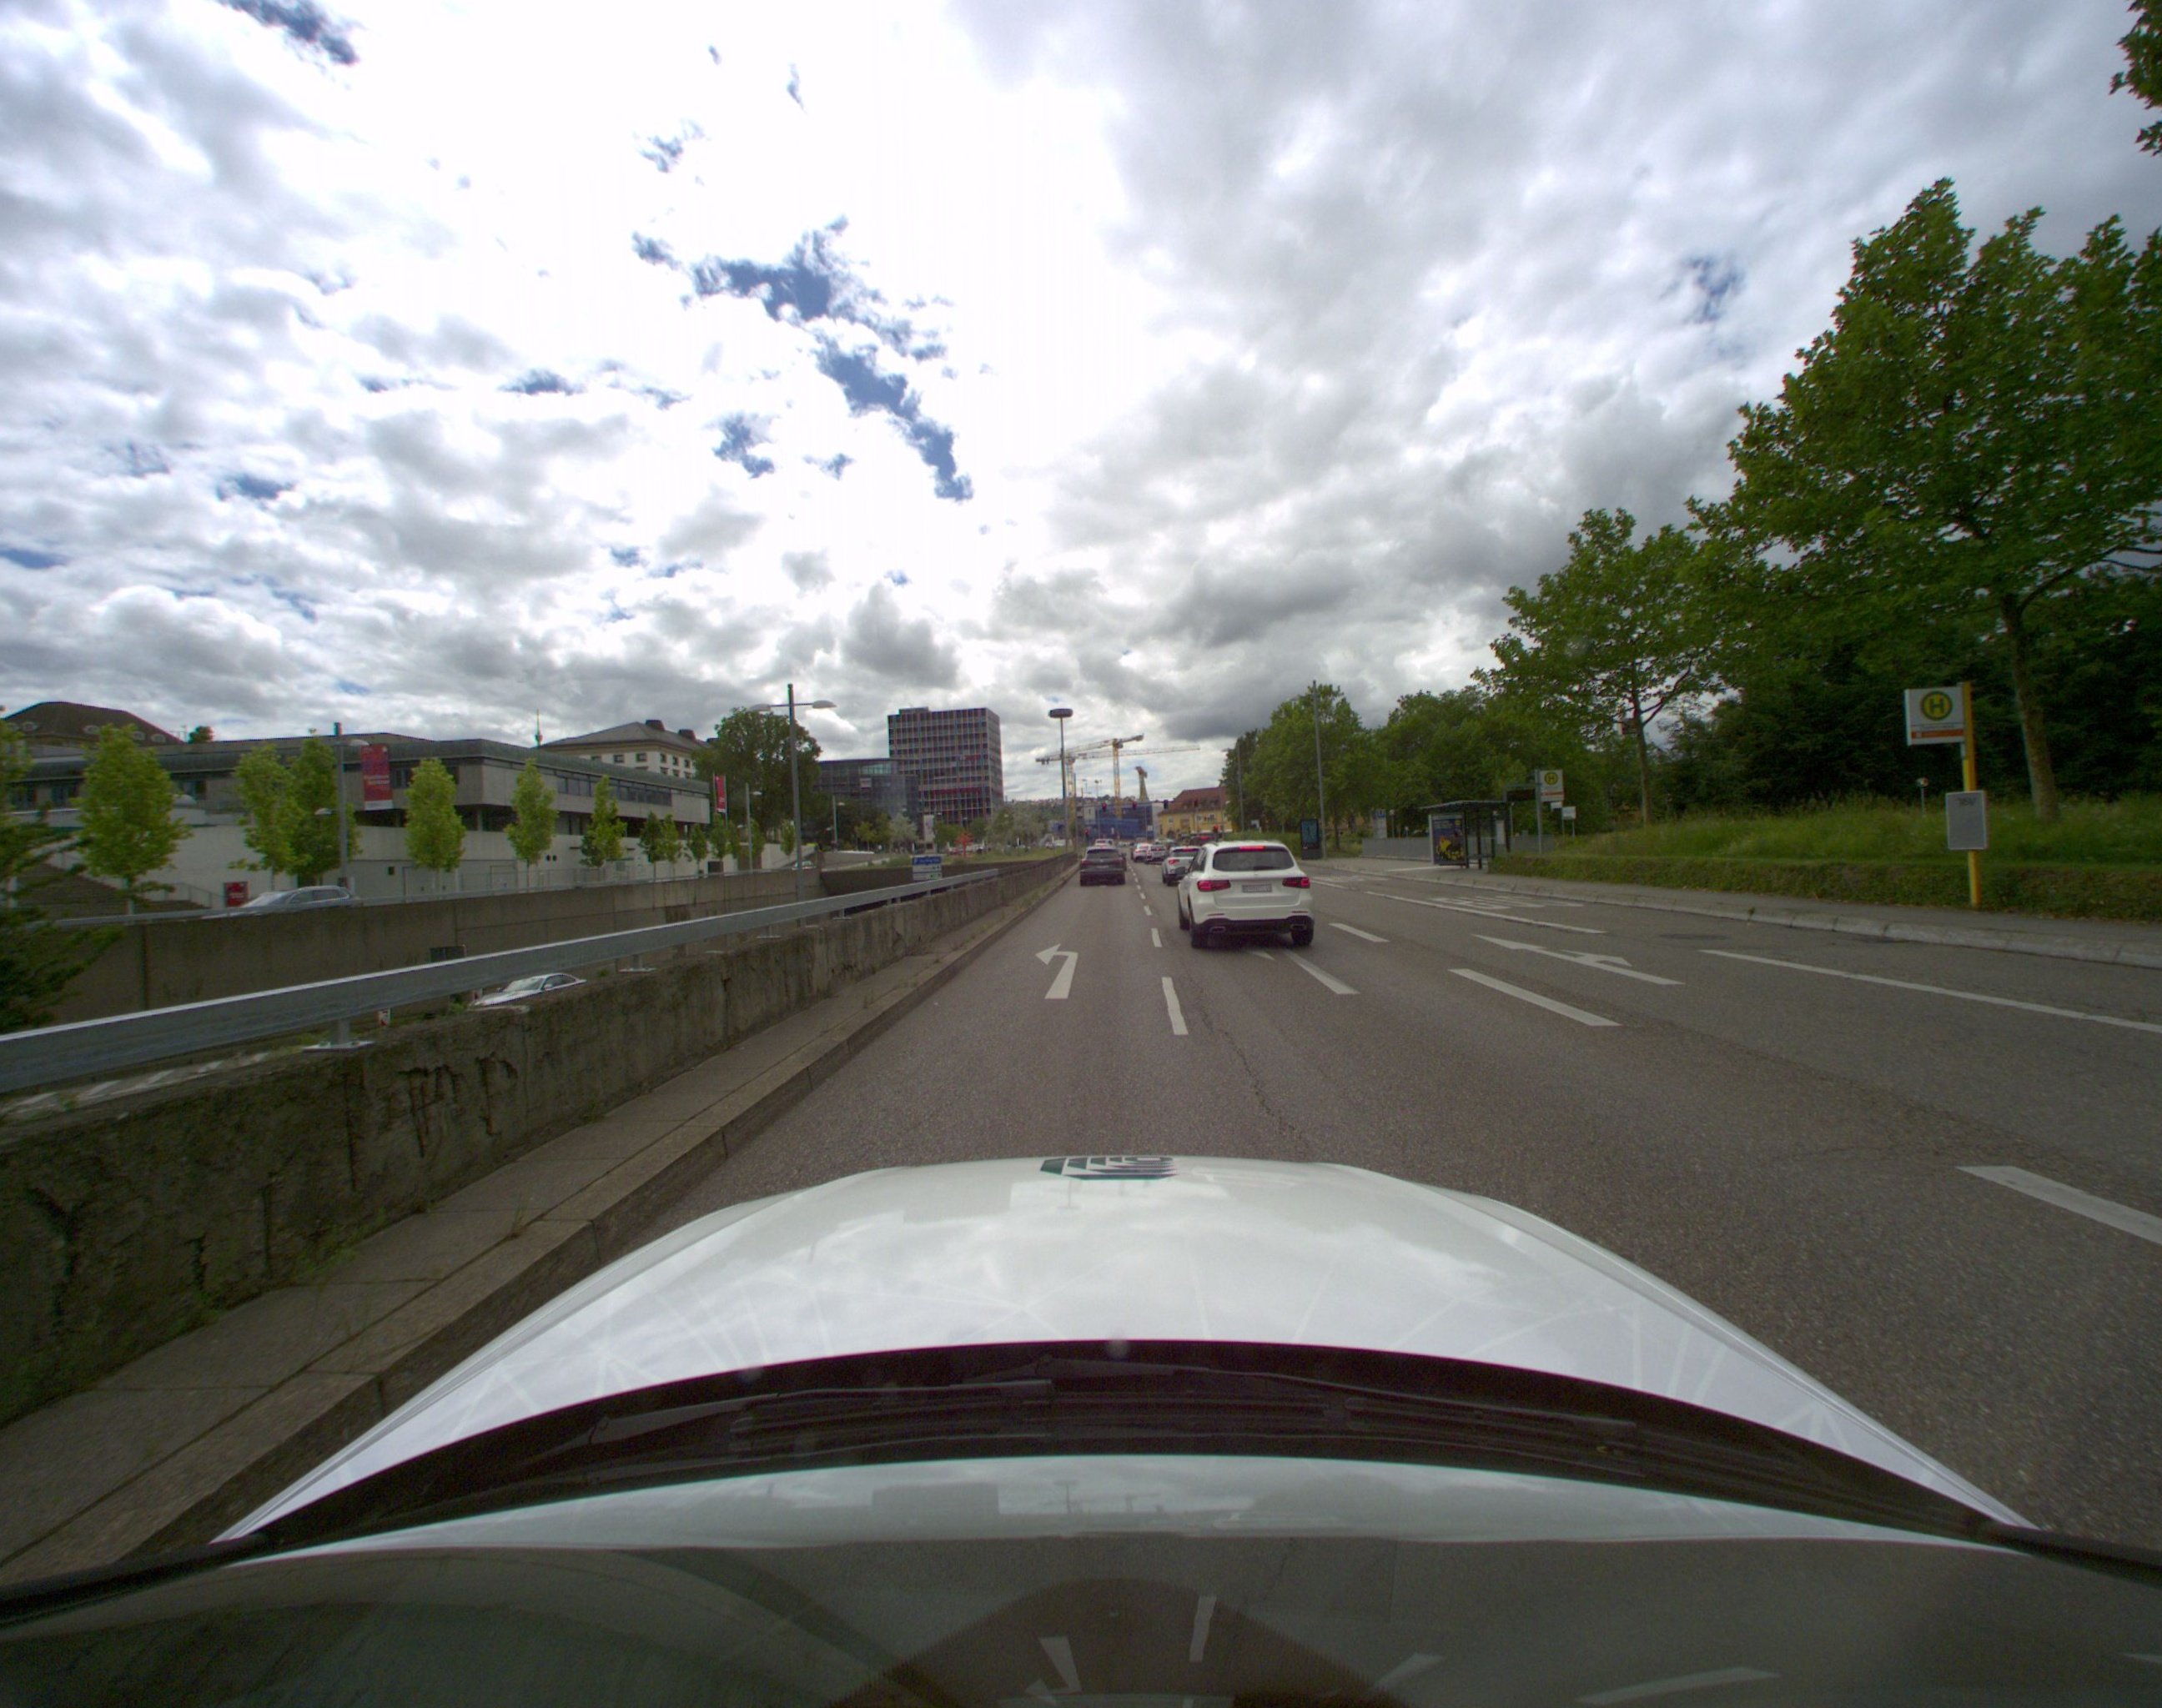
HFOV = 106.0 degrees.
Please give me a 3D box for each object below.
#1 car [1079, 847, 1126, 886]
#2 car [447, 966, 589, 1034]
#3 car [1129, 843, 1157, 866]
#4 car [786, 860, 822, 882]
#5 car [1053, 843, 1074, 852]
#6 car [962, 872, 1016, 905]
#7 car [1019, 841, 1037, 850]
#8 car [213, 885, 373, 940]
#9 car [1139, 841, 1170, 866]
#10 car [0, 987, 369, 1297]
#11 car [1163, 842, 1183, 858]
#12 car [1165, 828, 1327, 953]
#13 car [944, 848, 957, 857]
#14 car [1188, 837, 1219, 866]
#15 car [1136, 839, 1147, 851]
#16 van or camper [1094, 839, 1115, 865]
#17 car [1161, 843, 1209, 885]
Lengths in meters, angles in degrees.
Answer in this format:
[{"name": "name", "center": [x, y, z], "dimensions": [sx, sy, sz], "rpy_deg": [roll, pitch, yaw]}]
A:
[{"name": "car", "center": [0.971, 0.523, 36.174], "dimensions": [1.915, 1.602, 4.002], "rpy_deg": [-2, 0, 2]}, {"name": "car", "center": [-18.895, 4.868, 27.583], "dimensions": [1.742, 1.486, 4.217], "rpy_deg": [-2, 0, 2]}, {"name": "car", "center": [4.938, 0.062, 65.355], "dimensions": [1.986, 1.781, 4.001], "rpy_deg": [-1, -1, 2]}, {"name": "car", "center": [-27.799, 1.689, 81.723], "dimensions": [1.986, 2.013, 4.002], "rpy_deg": [-4, 0, 2]}, {"name": "car", "center": [-4.665, -1.700, 213.447], "dimensions": [5.221, 2.060, 1.885], "rpy_deg": [-1, -1, 31]}, {"name": "car", "center": [-4.052, 1.485, 36.300], "dimensions": [1.712, 1.292, 4.003], "rpy_deg": [-1, 0, 3]}, {"name": "car", "center": [-13.069, -2.097, 200.096], "dimensions": [3.994, 2.014, 1.990], "rpy_deg": [0, -1, -15]}, {"name": "car", "center": [-25.672, 1.846, 26.696], "dimensions": [1.696, 1.486, 3.524], "rpy_deg": [-2, 0, 2]}, {"name": "car", "center": [5.283, -0.004, 58.831], "dimensions": [1.986, 1.662, 4.001], "rpy_deg": [-1, -1, 2]}, {"name": "car", "center": [-8.552, 2.292, 6.250], "dimensions": [1.886, 1.715, 4.661], "rpy_deg": [-2, 0, 3]}, {"name": "car", "center": [9.652, -0.414, 85.653], "dimensions": [1.713, 1.584, 4.000], "rpy_deg": [-1, 0, 1]}, {"name": "car", "center": [2.546, 0.549, 13.590], "dimensions": [1.933, 1.684, 4.001], "rpy_deg": [-3, -1, 2]}, {"name": "car", "center": [-25.385, -0.281, 158.816], "dimensions": [1.860, 1.618, 3.482], "rpy_deg": [-1, -1, 2]}, {"name": "car", "center": [9.083, -0.194, 60.635], "dimensions": [1.781, 2.013, 4.002], "rpy_deg": [-2, 0, 2]}, {"name": "car", "center": [11.220, -1.665, 151.045], "dimensions": [1.793, 2.014, 4.001], "rpy_deg": [-1, -1, 2]}, {"name": "van or camper", "center": [2.305, -0.167, 78.328], "dimensions": [1.915, 2.320, 4.001], "rpy_deg": [-2, -2, 2]}, {"name": "car", "center": [4.250, 0.398, 33.646], "dimensions": [1.665, 1.628, 4.003], "rpy_deg": [-1, -1, 3]}]
